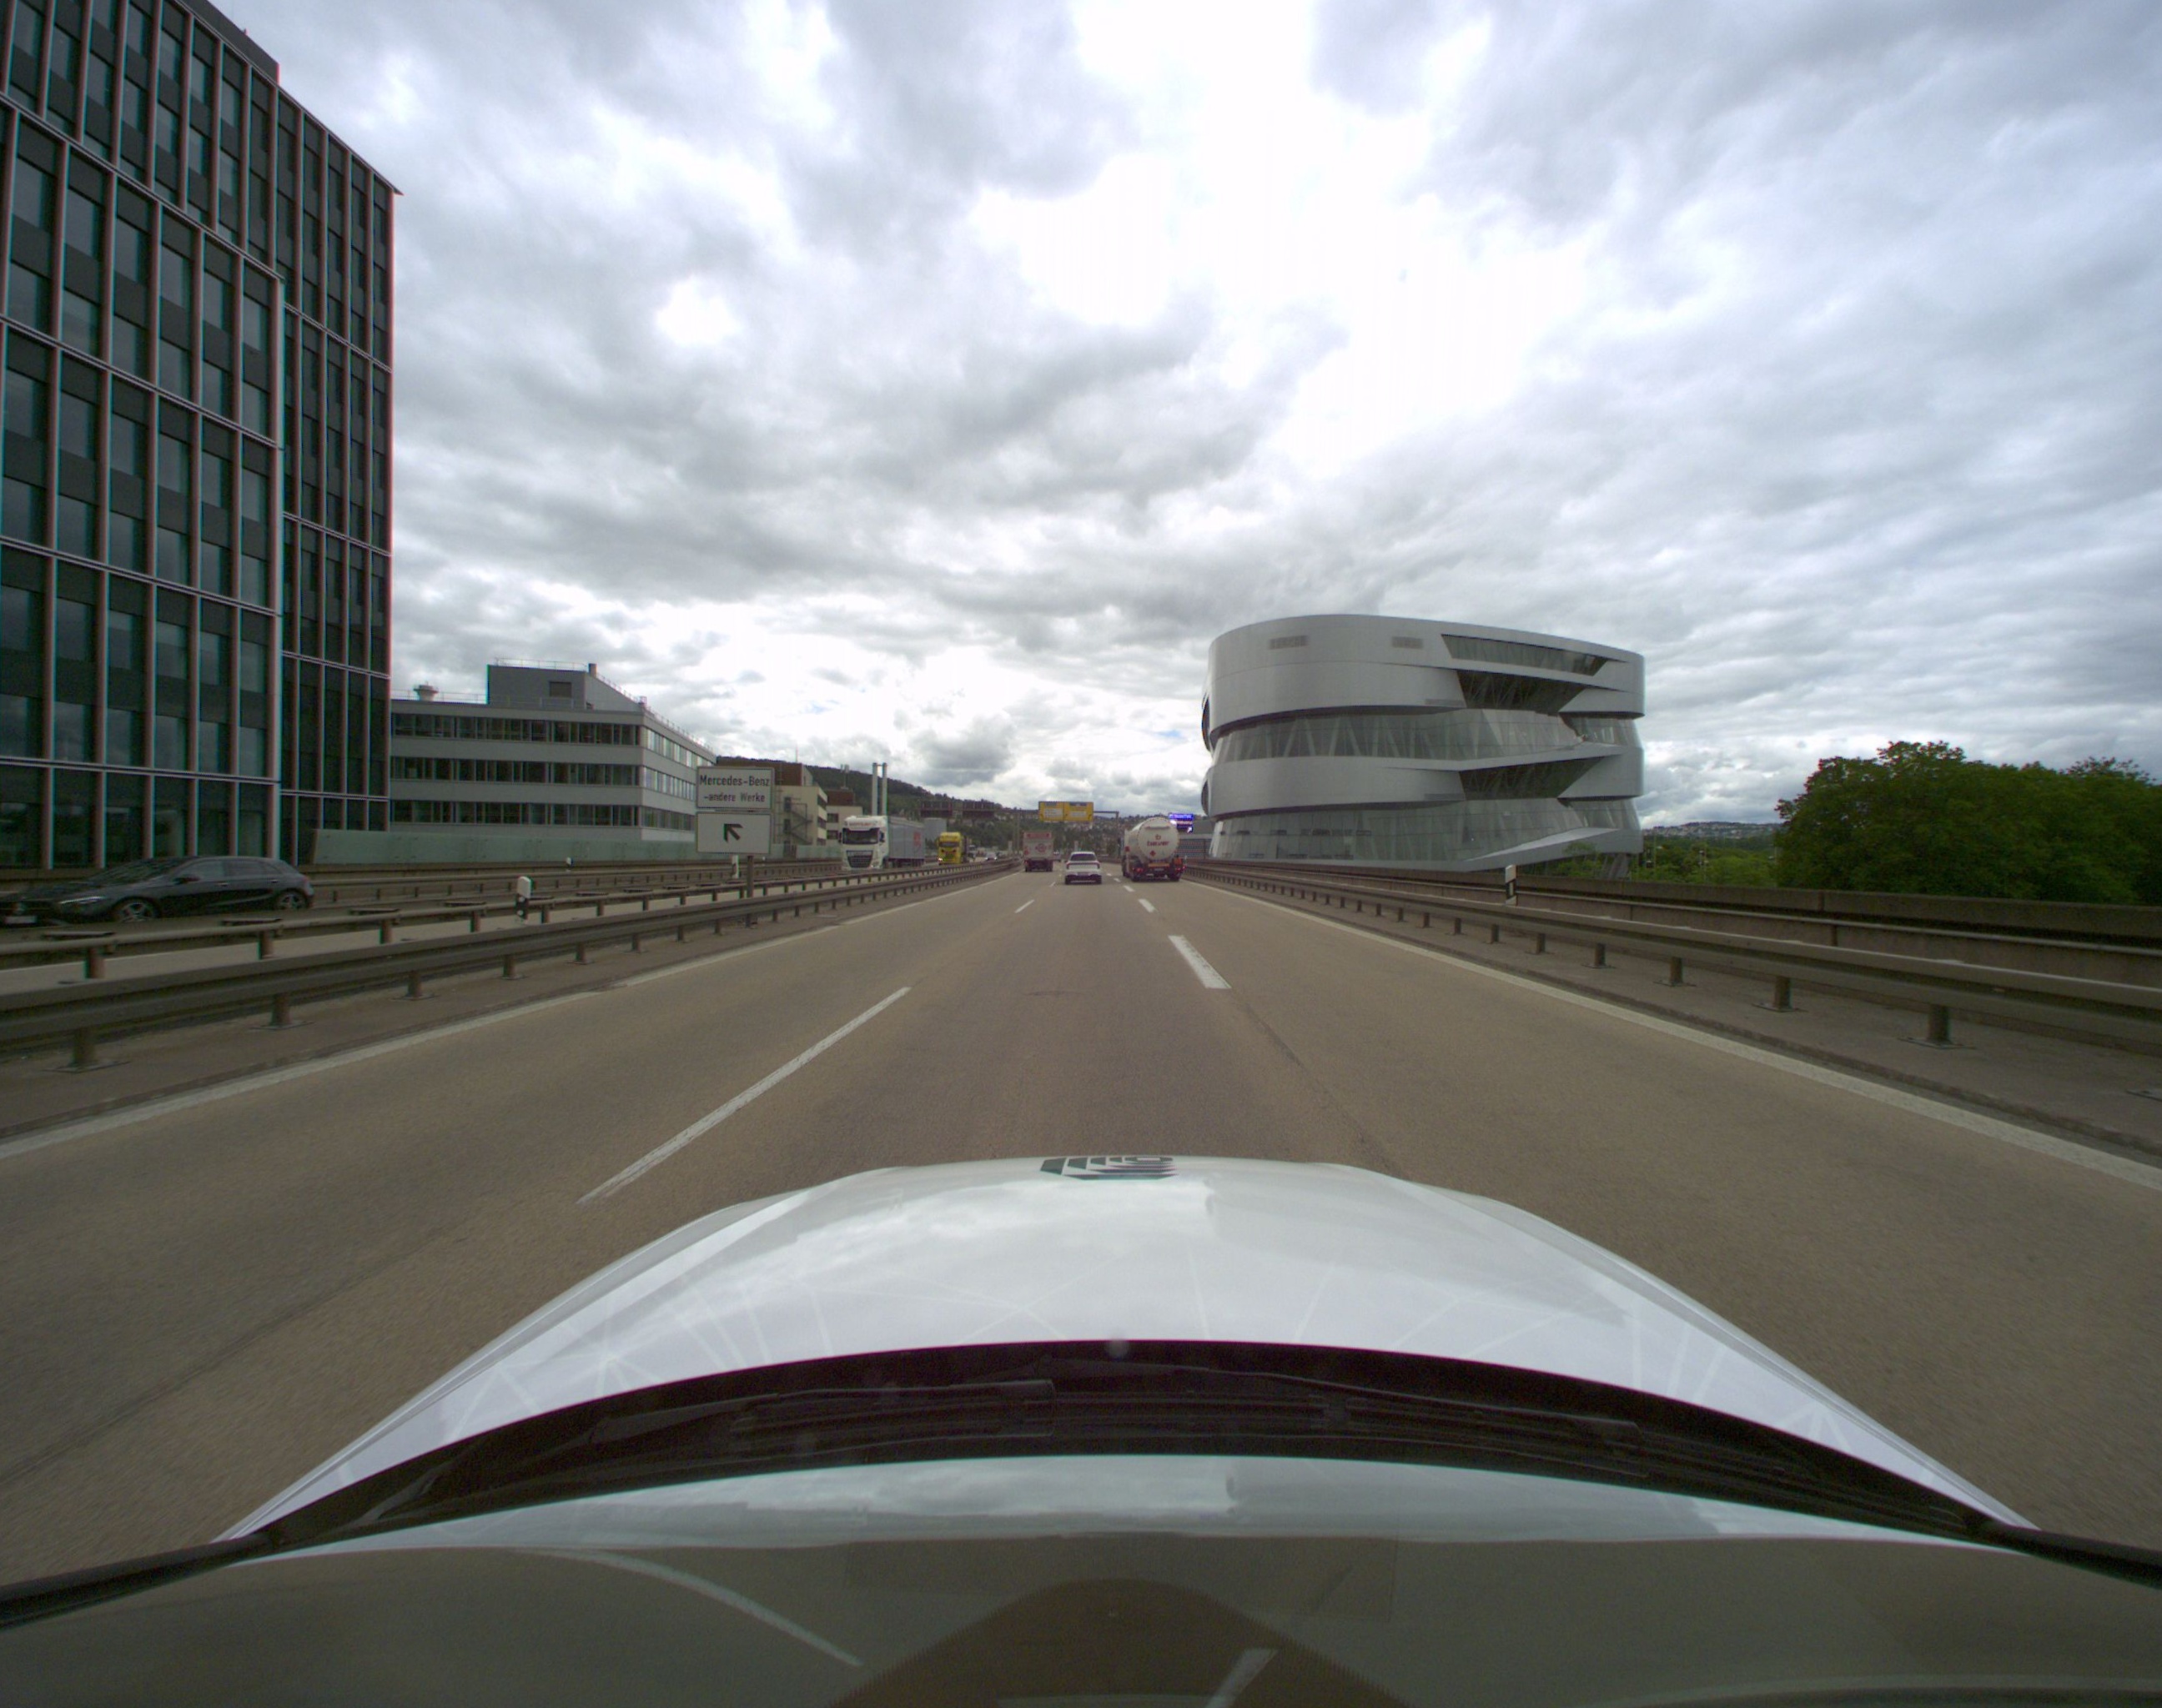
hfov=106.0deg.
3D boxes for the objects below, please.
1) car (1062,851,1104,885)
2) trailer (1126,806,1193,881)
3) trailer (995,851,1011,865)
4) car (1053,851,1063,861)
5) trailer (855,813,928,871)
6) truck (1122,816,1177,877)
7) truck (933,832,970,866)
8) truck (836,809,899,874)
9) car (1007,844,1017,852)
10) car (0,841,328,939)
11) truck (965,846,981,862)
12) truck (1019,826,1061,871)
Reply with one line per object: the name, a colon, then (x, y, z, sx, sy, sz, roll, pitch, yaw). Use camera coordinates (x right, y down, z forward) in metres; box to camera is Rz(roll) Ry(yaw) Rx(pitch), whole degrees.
car: (0.152, 0.704, 42.611, 1.985, 1.675, 4.411, -1, -1, 3)
trailer: (4.266, -0.510, 45.955, 3.046, 3.790, 8.304, -1, -1, 1)
trailer: (-11.419, 0.655, 119.928, 1.987, 2.014, 3.999, -1, -1, -1)
car: (-3.935, 0.327, 140.888, 1.677, 1.650, 4.358, 0, -1, 0)
trailer: (-14.401, -0.781, 63.040, 2.836, 3.987, 11.882, -1, -1, 0)
truck: (4.262, -0.419, 51.852, 3.004, 3.657, 6.274, -1, -1, 1)
truck: (-16.148, -0.540, 102.517, 3.049, 4.065, 11.846, -1, -1, -2)
truck: (-14.265, -0.767, 54.892, 2.763, 4.079, 5.644, -1, -1, 0)
car: (-14.766, -1.303, 175.344, 1.989, 1.606, 4.801, -1, -1, -3)
car: (-17.582, 0.625, 15.895, 1.677, 1.650, 4.358, 0, -1, 0)
truck: (-26.745, 0.162, 201.787, 3.051, 3.776, 12.498, -1, -1, -4)
truck: (-3.550, -0.405, 72.483, 3.045, 3.691, 8.306, -1, -1, 2)
